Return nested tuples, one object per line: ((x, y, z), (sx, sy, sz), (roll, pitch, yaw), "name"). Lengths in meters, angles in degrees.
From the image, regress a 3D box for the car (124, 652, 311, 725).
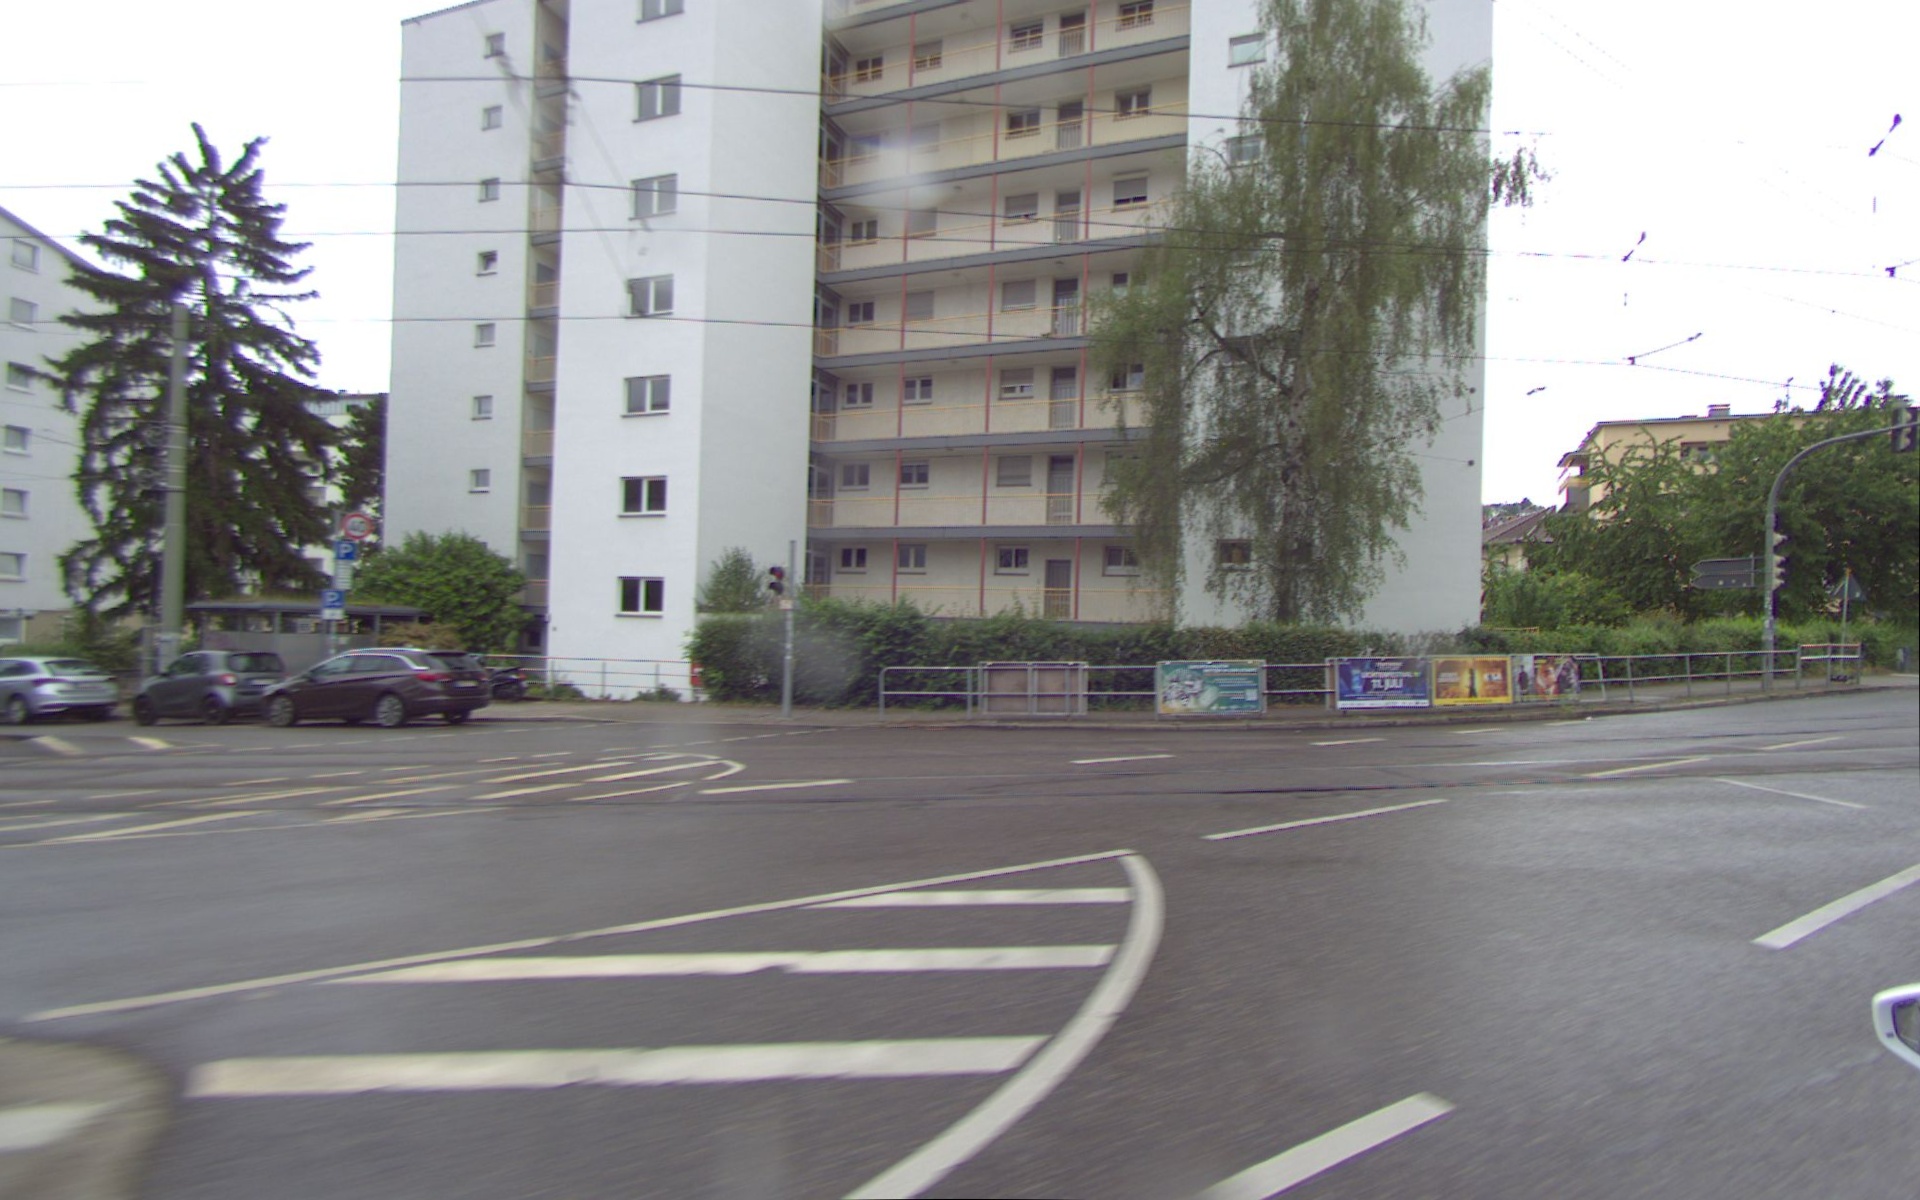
((-15.583, 1.842, 21.140), (2.835, 1.411, 1.812), (-2, -2, 15), "car")

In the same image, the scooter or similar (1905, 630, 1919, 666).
((33.331, 1.666, 34.634), (1.579, 1.200, 0.570), (3, -1, -27), "scooter or similar")

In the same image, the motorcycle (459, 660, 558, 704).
((-10.861, 1.961, 24.167), (2.191, 0.953, 0.779), (0, 1, 17), "motorcycle")

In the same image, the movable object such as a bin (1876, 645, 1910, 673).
((31.442, 1.976, 33.841), (0.753, 0.893, 0.682), (3, -1, -36), "movable object such as a bin")

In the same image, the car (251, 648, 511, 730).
((-11.364, 1.722, 19.781), (4.402, 1.480, 1.876), (-1, -3, 16), "car")

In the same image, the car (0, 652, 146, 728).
((-21.053, 2.019, 22.725), (4.225, 1.528, 2.001), (-2, -1, 16), "car")
